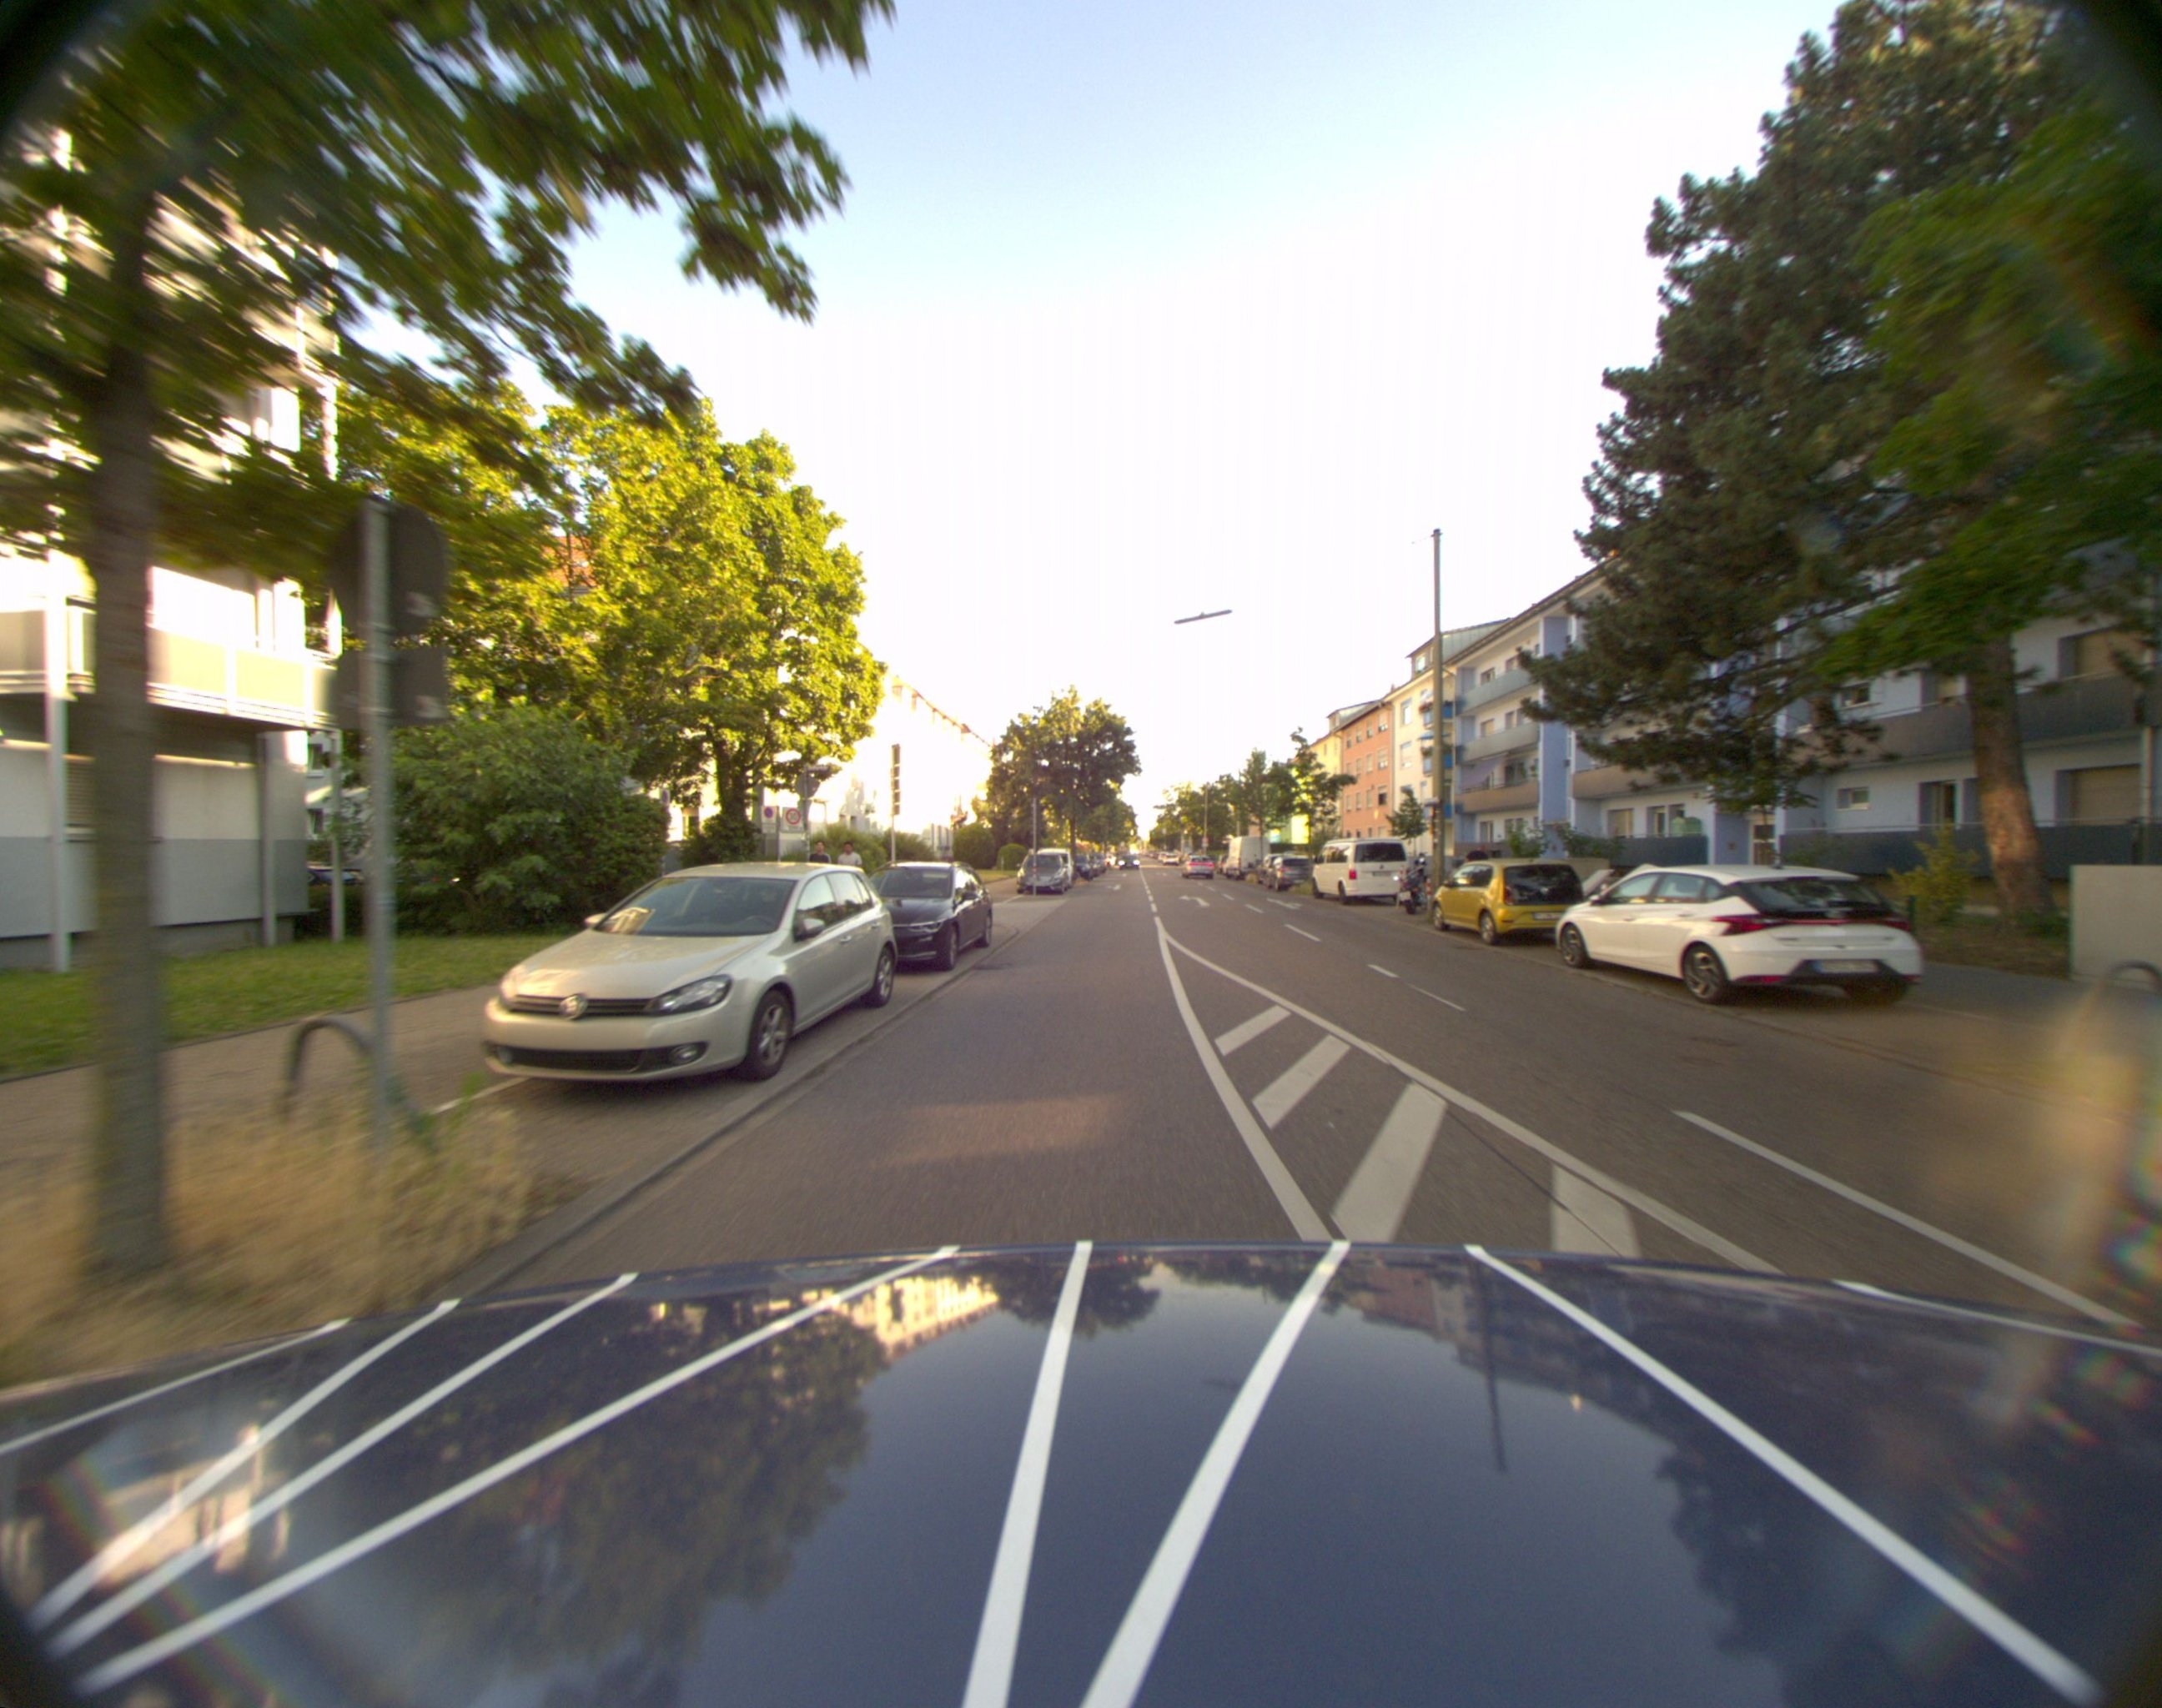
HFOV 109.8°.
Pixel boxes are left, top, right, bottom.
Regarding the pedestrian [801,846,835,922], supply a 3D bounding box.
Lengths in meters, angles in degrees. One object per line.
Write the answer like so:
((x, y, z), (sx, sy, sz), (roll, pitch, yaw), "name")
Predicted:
((-6.034, 0.674, 17.442), (0.593, 1.718, 0.406), (0, 1, 4), "pedestrian")

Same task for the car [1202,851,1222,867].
((12.559, 0.470, 73.011), (1.762, 1.439, 3.787), (0, 1, 9), "car")

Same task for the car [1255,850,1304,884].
((9.901, 0.602, 38.138), (1.808, 1.582, 3.958), (-1, 1, 6), "car")

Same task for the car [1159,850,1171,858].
((13.653, 0.003, 124.203), (1.808, 1.390, 3.957), (0, 1, 4), "car")

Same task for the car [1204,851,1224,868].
((12.082, 0.474, 69.079), (1.762, 1.439, 3.592), (0, 1, 9), "car")

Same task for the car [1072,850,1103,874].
((0.485, 0.509, 51.424), (1.797, 1.558, 3.673), (1, 1, 4), "car")

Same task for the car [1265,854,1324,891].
((9.194, 0.748, 33.071), (1.808, 1.489, 3.958), (-1, 1, 6), "car")

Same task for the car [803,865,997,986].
((-2.509, 0.925, 11.673), (1.738, 1.435, 4.340), (1, 0, 3), "car")

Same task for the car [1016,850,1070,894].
((-1.428, 0.669, 30.017), (1.797, 1.577, 4.000), (1, 1, 2), "car")

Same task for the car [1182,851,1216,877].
((7.399, 0.600, 47.879), (1.726, 1.473, 3.957), (1, 1, 3), "car")

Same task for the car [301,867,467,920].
((-17.647, 0.980, 19.311), (2.951, 1.243, 1.477), (0, 1, 4), "car")

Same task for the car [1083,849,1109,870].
((1.234, 0.397, 60.723), (1.797, 1.558, 3.673), (1, 1, 4), "car")

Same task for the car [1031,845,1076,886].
((-1.235, 0.499, 35.405), (1.797, 1.761, 4.000), (1, 1, 2), "car")

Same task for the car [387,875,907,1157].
((-2.925, 0.956, 6.386), (1.738, 1.435, 4.305), (1, 0, 3), "car")

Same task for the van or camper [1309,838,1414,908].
((8.827, 0.527, 24.361), (1.808, 2.002, 4.865), (-1, 1, 3), "van or camper")

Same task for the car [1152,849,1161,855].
((16.968, -0.453, 170.936), (1.808, 1.390, 3.957), (0, 1, 4), "car")

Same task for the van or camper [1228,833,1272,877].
((10.375, 0.029, 46.917), (1.917, 2.528, 5.336), (0, 1, 4), "van or camper")

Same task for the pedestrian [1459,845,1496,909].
((10.915, 0.616, 20.952), (0.697, 1.727, 0.647), (0, 1, 4), "pedestrian")

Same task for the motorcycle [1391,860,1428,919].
((8.470, 0.864, 19.538), (0.792, 1.393, 2.021), (0, 1, 25), "motorcycle")

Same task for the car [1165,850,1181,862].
((11.226, 0.250, 92.727), (1.808, 1.390, 3.958), (0, 1, 6), "car")

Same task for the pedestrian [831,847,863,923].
((-5.303, 0.694, 17.233), (0.593, 1.718, 0.406), (0, 1, 4), "pedestrian")

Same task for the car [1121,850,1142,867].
((4.822, 0.417, 72.883), (1.998, 1.525, 4.000), (0, 1, 3), "car")

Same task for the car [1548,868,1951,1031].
((7.480, 0.947, 9.109), (1.683, 1.434, 3.883), (-1, 0, 6), "car")

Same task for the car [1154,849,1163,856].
((15.760, -0.321, 154.895), (1.808, 1.390, 3.957), (0, 1, 4), "car")

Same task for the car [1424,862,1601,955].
((7.831, 0.915, 14.152), (1.577, 1.460, 3.491), (-1, 0, 6), "car")

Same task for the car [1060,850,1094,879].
((-0.187, 0.590, 43.985), (1.797, 1.558, 3.672), (1, 1, 2), "car")
